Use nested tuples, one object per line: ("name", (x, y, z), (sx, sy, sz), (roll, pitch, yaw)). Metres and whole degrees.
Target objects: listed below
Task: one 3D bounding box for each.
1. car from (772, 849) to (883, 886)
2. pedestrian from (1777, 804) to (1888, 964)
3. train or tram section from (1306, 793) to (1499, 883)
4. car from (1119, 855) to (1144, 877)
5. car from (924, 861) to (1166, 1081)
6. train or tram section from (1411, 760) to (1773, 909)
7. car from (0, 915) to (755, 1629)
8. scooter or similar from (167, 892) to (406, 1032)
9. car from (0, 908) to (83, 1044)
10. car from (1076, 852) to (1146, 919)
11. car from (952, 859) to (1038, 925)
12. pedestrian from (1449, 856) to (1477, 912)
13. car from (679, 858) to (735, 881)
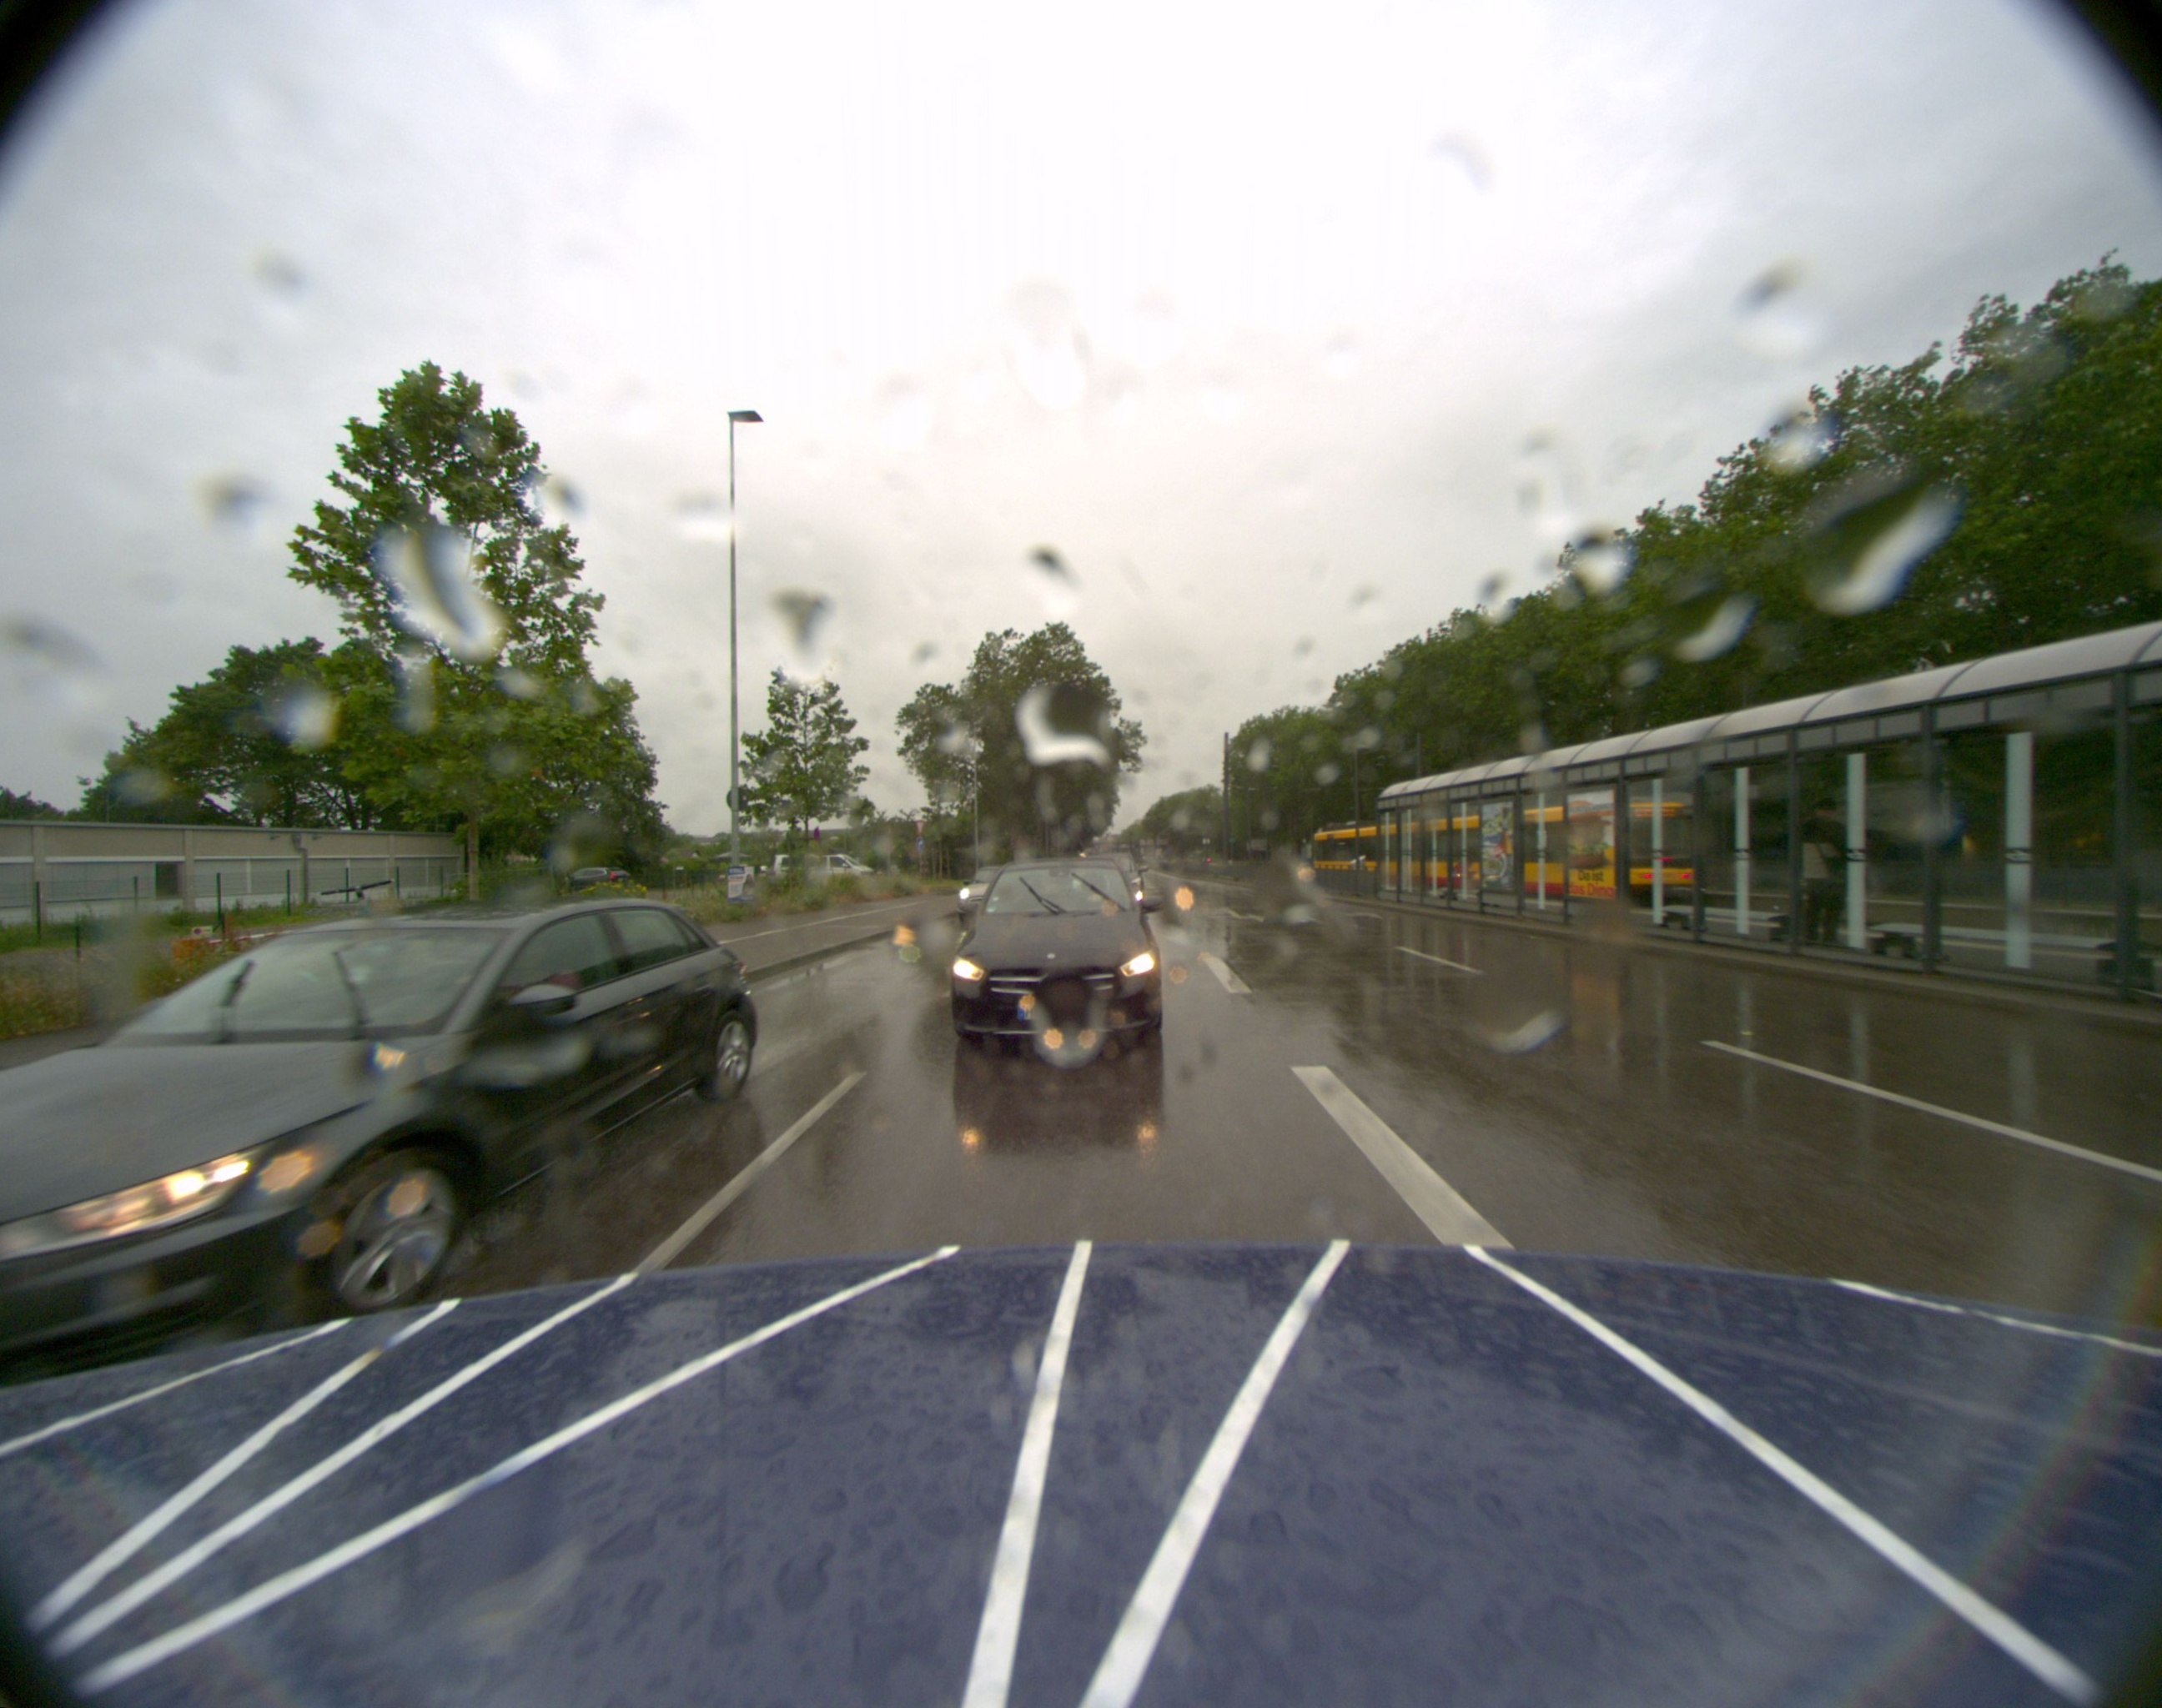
("car", (-13.486, 0.700, 40.697), (5.174, 1.715, 2.006), (-2, 1, -1))
("pedestrian", (9.157, 0.358, 9.287), (0.655, 1.861, 0.773), (-2, 1, 17))
("train or tram section", (16.508, -0.796, 41.305), (3.751, 3.777, 15.569), (-2, 1, 0))
("car", (4.495, 0.997, 67.884), (1.935, 1.765, 4.663), (-2, 1, 1))
("car", (-0.124, 0.897, 7.718), (1.758, 1.572, 4.170), (-2, 0, 4))
("train or tram section", (16.499, -0.593, 26.843), (3.751, 3.817, 13.252), (-2, 1, 0))
("car", (-3.184, 1.103, 3.555), (1.601, 1.358, 3.632), (0, 0, 3))
("scooter or similar", (-8.284, 1.062, 8.064), (0.367, 1.192, 1.913), (-2, 1, 4))
("car", (-12.122, 1.272, 7.404), (3.243, 1.281, 1.345), (-2, 1, 6))
("car", (0.796, 0.761, 20.445), (1.689, 1.611, 4.000), (0, 0, 2))
("car", (-2.252, 0.959, 20.781), (1.706, 1.499, 3.879), (-2, 1, 2))
("pedestrian", (8.643, 0.669, 17.206), (0.458, 1.229, 0.467), (-1, 2, 15))
("car", (-28.343, 1.155, 57.591), (3.552, 1.575, 1.345), (-2, 1, 6))
